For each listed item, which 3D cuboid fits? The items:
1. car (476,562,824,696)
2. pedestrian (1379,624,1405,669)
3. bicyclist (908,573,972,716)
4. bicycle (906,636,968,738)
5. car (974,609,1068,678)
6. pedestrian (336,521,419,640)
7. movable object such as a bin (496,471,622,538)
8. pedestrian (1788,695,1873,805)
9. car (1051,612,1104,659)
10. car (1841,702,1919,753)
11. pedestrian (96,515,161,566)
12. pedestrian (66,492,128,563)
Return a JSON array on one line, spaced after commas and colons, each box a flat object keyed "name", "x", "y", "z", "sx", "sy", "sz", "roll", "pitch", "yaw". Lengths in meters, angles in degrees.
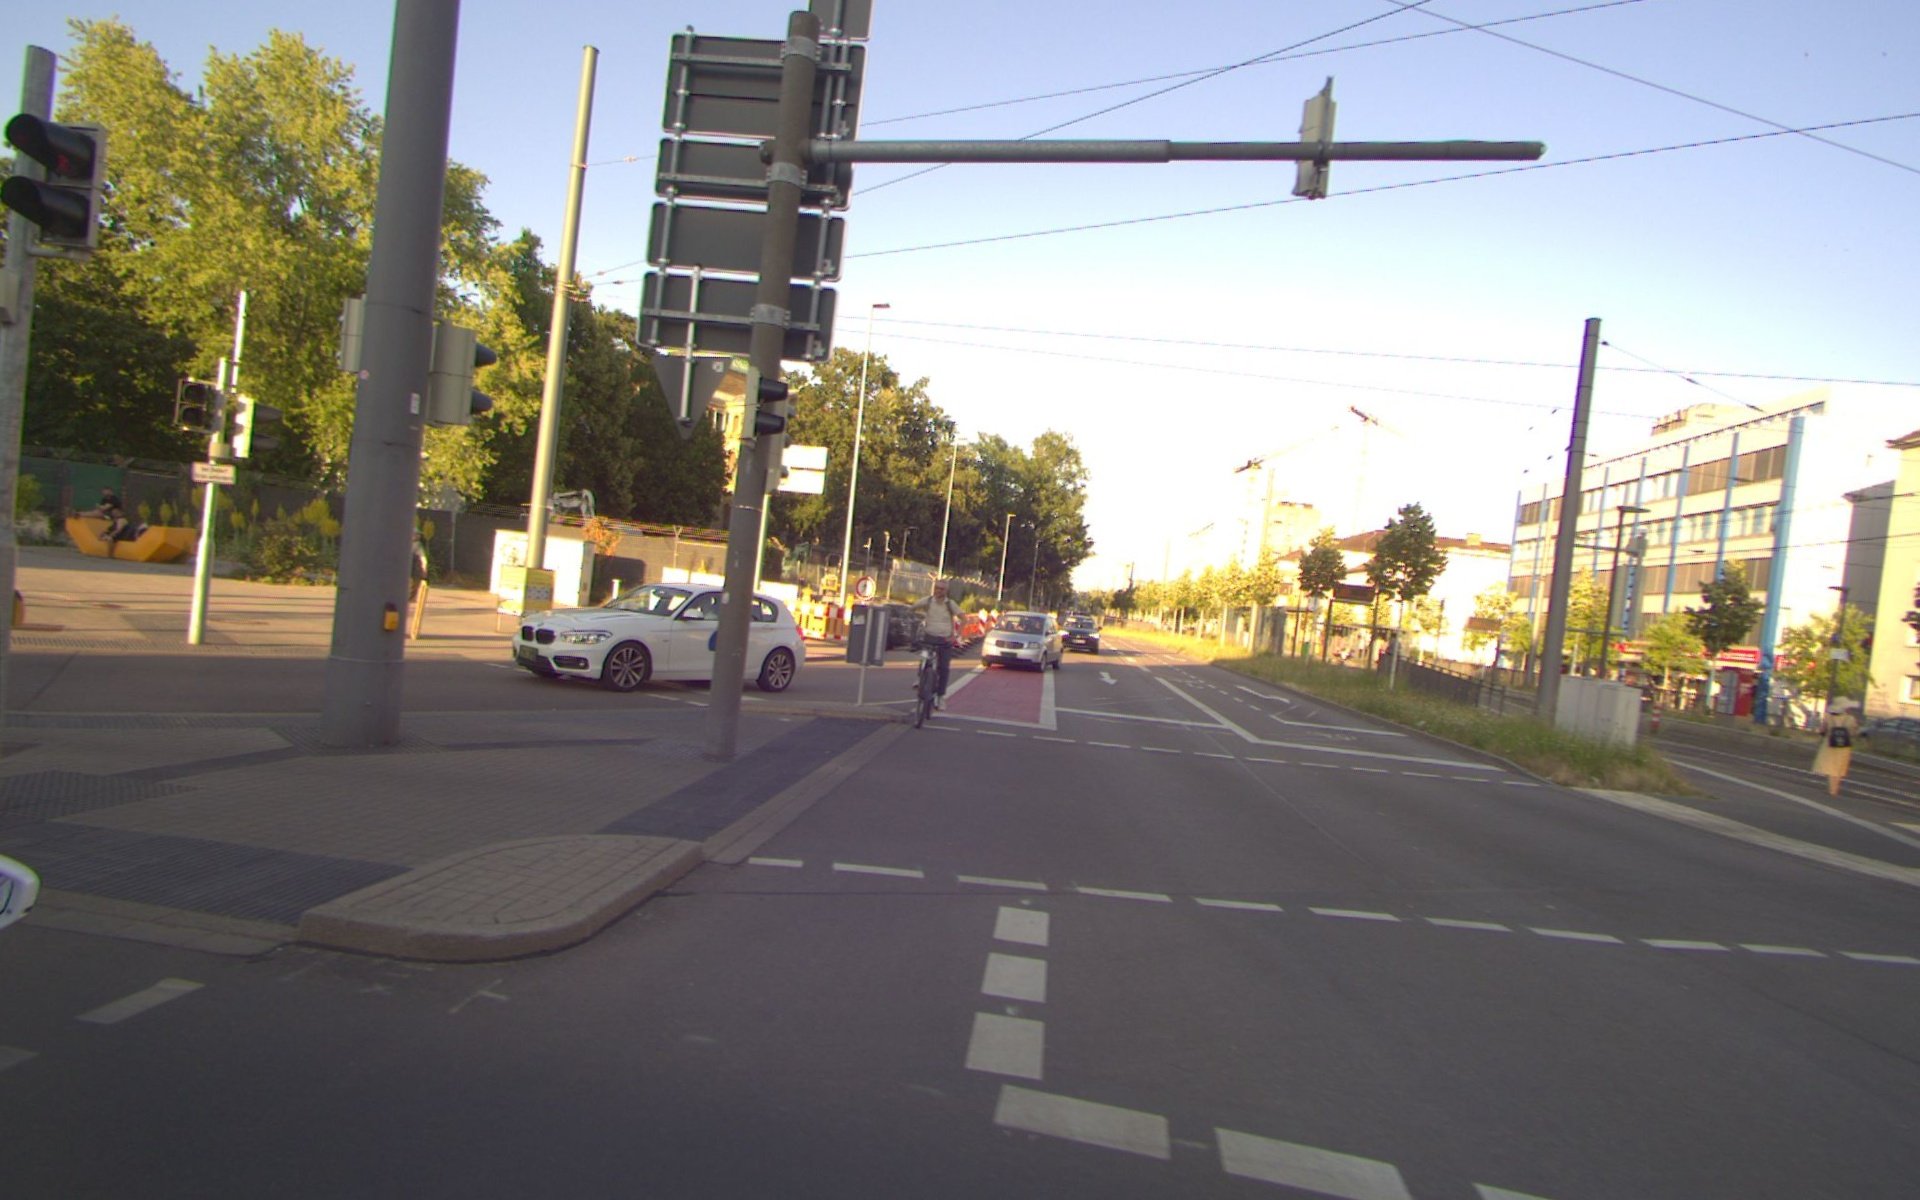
[{"name": "car", "x": -4.048, "y": 0.454, "z": 13.848, "sx": 1.885, "sy": 1.423, "sz": 4.293, "roll": 6, "pitch": 0, "yaw": 33}, {"name": "pedestrian", "x": 16.035, "y": 1.709, "z": 37.323, "sx": 0.555, "sy": 1.611, "sz": 0.690, "roll": 7, "pitch": 1, "yaw": 9}, {"name": "bicyclist", "x": -0.267, "y": 0.543, "z": 12.666, "sx": 0.585, "sy": 1.692, "sz": 0.747, "roll": 7, "pitch": 1, "yaw": -4}, {"name": "bicycle", "x": -0.320, "y": 1.044, "z": 12.583, "sx": 0.586, "sy": 1.036, "sz": 1.845, "roll": 7, "pitch": 1, "yaw": -4}, {"name": "car", "x": 1.719, "y": 1.171, "z": 27.159, "sx": 1.649, "sy": 1.580, "sz": 3.728, "roll": 5, "pitch": -1, "yaw": 16}, {"name": "pedestrian", "x": -9.256, "y": -0.311, "z": 15.985, "sx": 0.935, "sy": 1.758, "sz": 0.813, "roll": 6, "pitch": 2, "yaw": -36}, {"name": "movable object such as a bin", "x": -15.162, "y": -3.626, "z": 37.925, "sx": 4.947, "sy": 2.039, "sz": 1.993, "roll": 7, "pitch": 1, "yaw": 37}, {"name": "pedestrian", "x": 13.655, "y": 2.336, "z": 15.796, "sx": 0.694, "sy": 1.561, "sz": 0.636, "roll": 7, "pitch": 1, "yaw": 23}, {"name": "car", "x": 5.025, "y": 1.466, "z": 42.482, "sx": 1.907, "sy": 1.637, "sz": 4.393, "roll": 7, "pitch": 0, "yaw": 9}, {"name": "car", "x": 41.152, "y": 5.640, "z": 43.619, "sx": 2.079, "sy": 1.726, "sz": 4.349, "roll": 7, "pitch": 0, "yaw": 4}, {"name": "pedestrian", "x": -21.597, "y": -1.534, "z": 26.136, "sx": 0.721, "sy": 1.172, "sz": 0.991, "roll": 7, "pitch": 1, "yaw": 11}, {"name": "pedestrian", "x": -22.410, "y": -1.878, "z": 26.129, "sx": 0.749, "sy": 1.686, "sz": 0.822, "roll": 7, "pitch": 1, "yaw": 12}]
